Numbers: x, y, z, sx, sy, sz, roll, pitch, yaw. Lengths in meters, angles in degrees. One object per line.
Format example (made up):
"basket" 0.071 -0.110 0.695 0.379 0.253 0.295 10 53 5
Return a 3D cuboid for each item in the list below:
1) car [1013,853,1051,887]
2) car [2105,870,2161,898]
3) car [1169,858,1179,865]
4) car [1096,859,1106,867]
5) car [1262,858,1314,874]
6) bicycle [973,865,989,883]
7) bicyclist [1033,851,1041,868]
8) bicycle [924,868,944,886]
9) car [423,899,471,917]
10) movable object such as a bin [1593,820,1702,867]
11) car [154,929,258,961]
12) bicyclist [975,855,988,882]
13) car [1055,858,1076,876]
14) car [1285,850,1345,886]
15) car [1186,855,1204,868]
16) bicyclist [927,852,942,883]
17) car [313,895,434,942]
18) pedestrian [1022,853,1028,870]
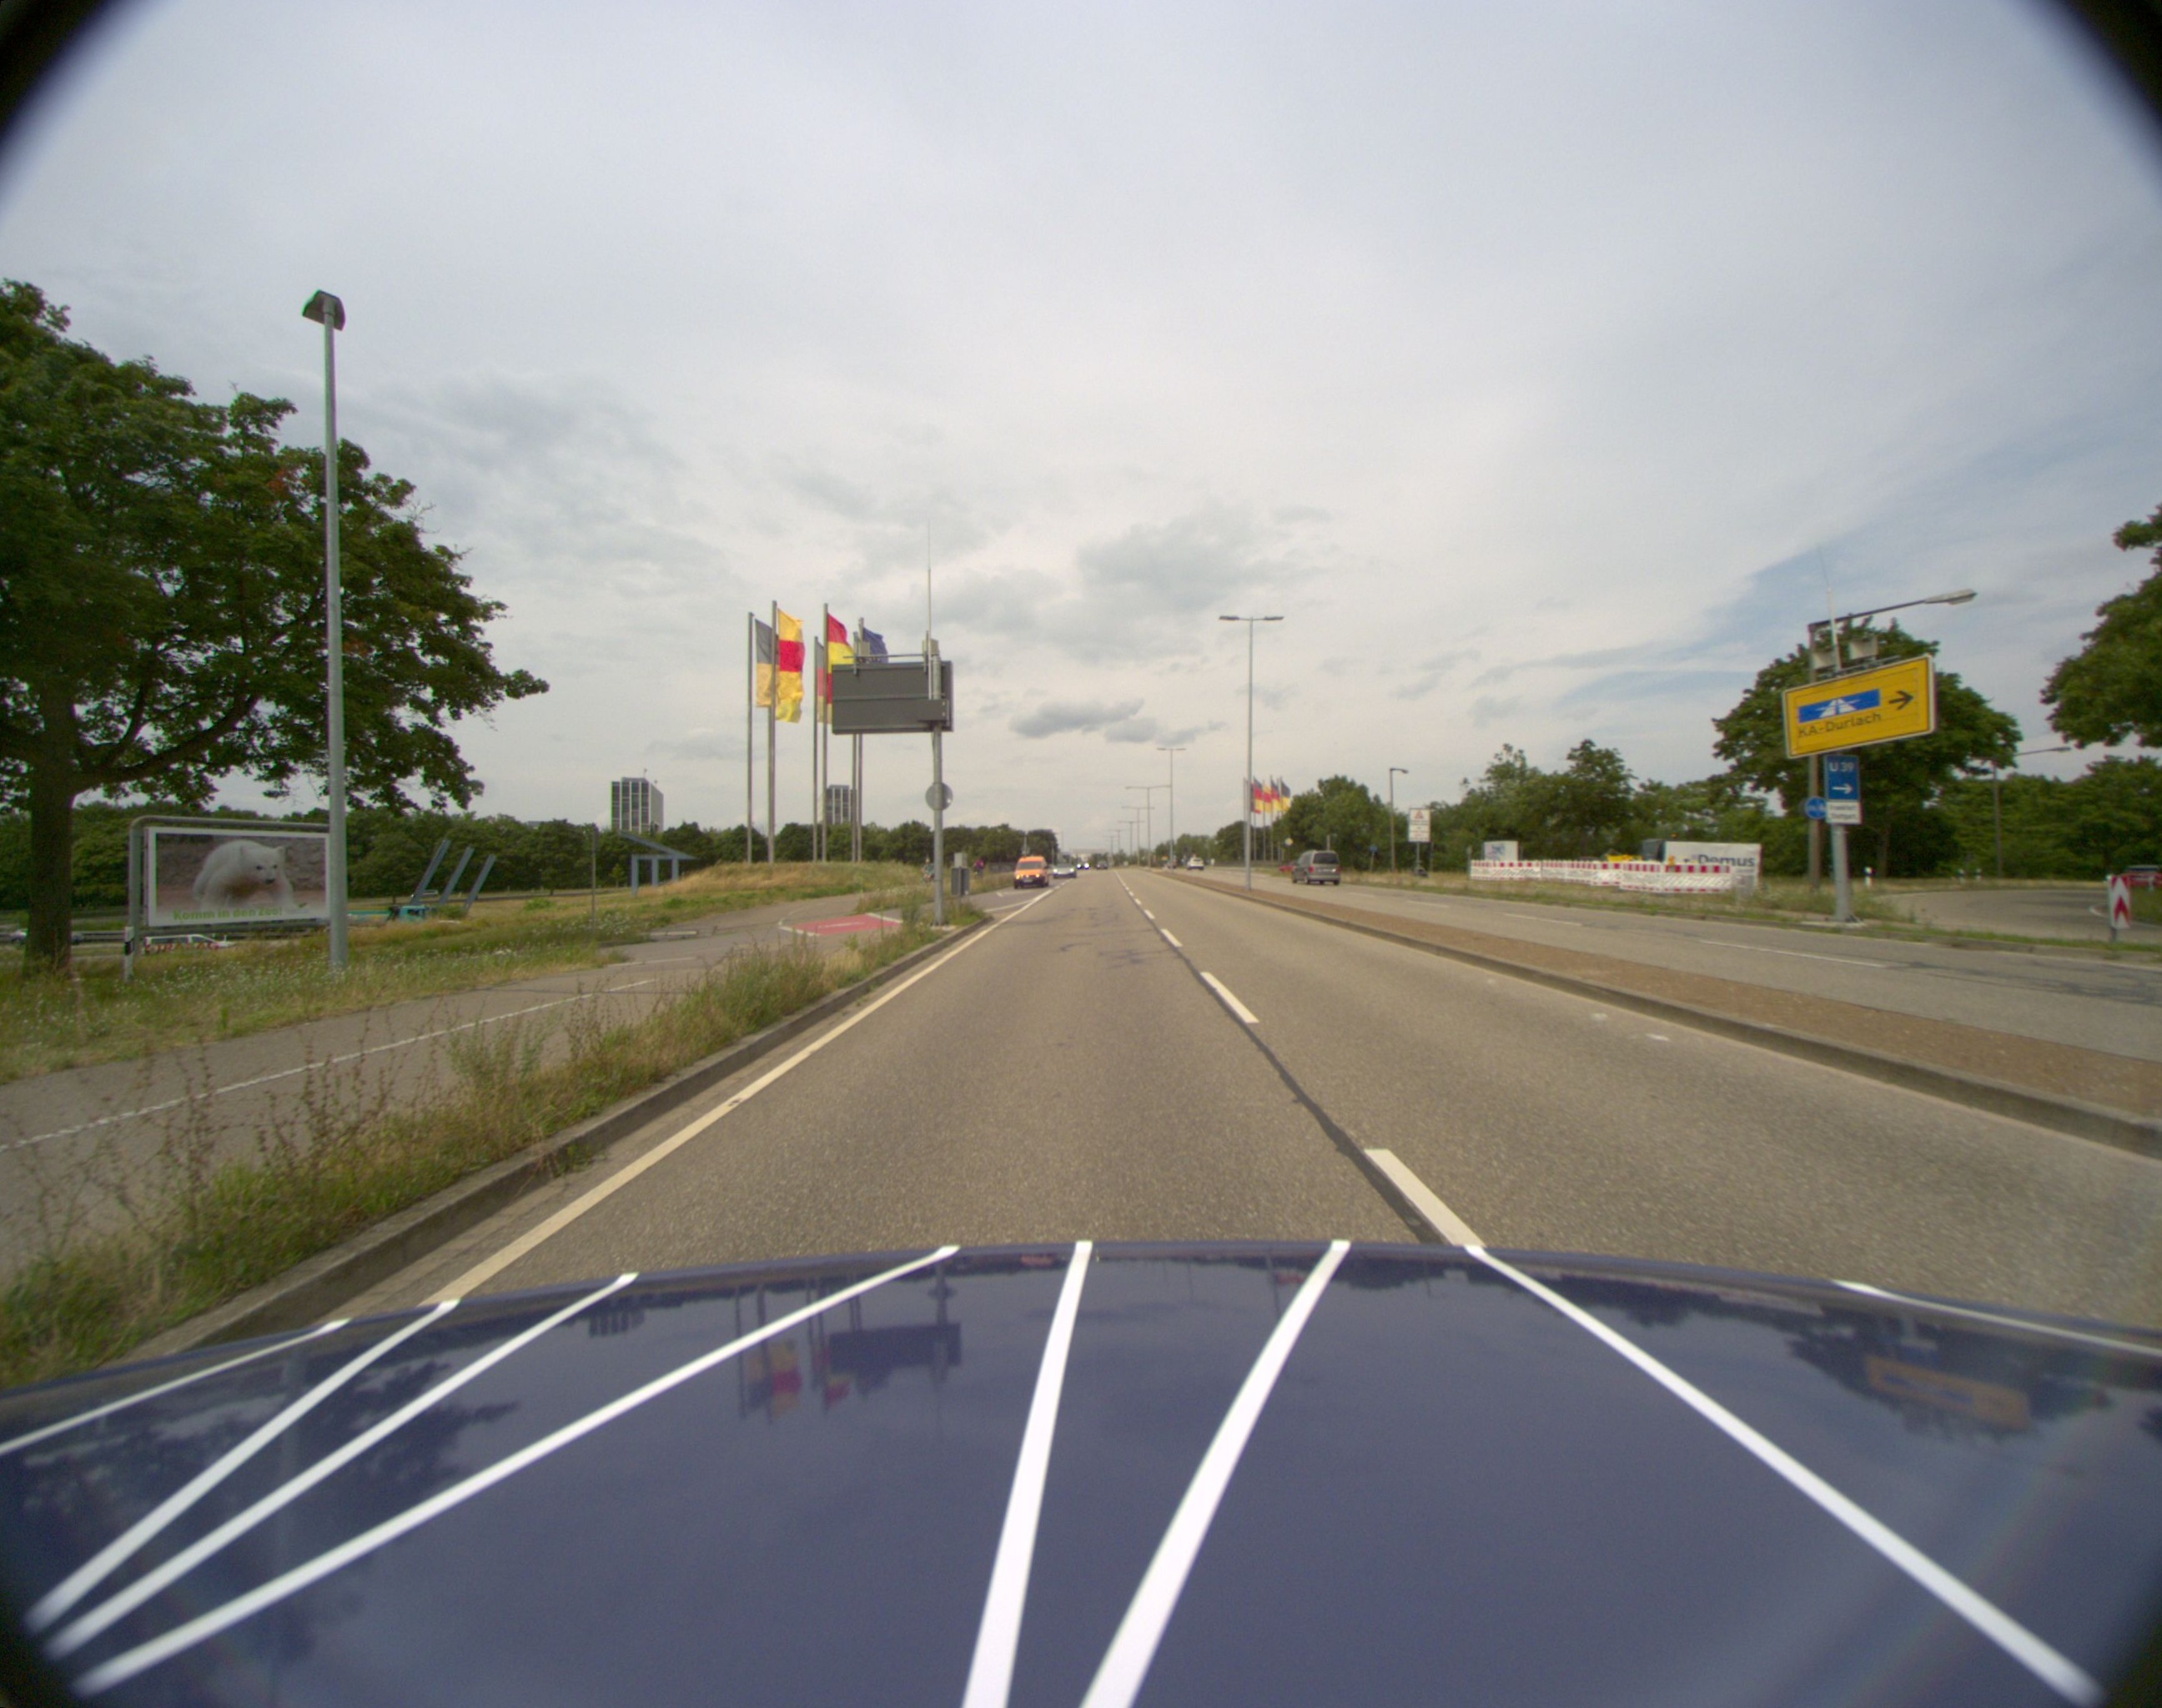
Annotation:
"car" -2.820 0.943 44.618 1.892 1.824 4.431 -2 -1 0
"car" 54.844 1.527 39.179 3.488 1.317 1.713 0 -1 -25
"car" 20.892 1.659 170.576 1.998 1.365 4.579 1 0 5
"car" 3.240 1.466 126.055 1.558 1.229 3.470 -2 -1 0
"car" 18.776 1.121 69.126 1.785 1.365 4.286 0 -1 -38
"bicycle" -6.642 1.334 50.559 0.695 1.185 2.461 0 -1 0
"bicyclist" -4.777 0.612 82.732 0.873 1.792 0.956 -1 2 -5
"bicycle" -7.930 1.249 41.016 0.625 0.883 2.154 -1 0 0
"car" -76.921 6.528 92.225 4.000 2.001 1.877 -1 -1 -10
"movable object such as a bin" 30.405 -0.540 40.829 4.593 2.382 1.999 -1 -1 -9
"car" -69.241 7.156 60.200 1.994 2.001 5.262 -2 -1 36
"bicyclist" -6.645 0.961 50.796 0.705 1.745 0.991 -1 0 0
"car" -1.354 1.128 65.354 1.695 1.403 3.684 -2 -1 -2
"car" 12.752 0.772 41.732 1.907 1.798 4.540 -1 -1 0
"car" 14.705 0.984 98.129 1.698 1.619 4.385 -1 -1 2
"bicyclist" -7.898 0.745 40.979 0.623 1.656 0.669 2 -1 -1
"car" -65.811 5.913 70.903 7.519 3.873 3.339 -1 -1 -22
"pedestrian" -6.687 0.922 90.394 0.628 2.001 0.668 1 -1 2
